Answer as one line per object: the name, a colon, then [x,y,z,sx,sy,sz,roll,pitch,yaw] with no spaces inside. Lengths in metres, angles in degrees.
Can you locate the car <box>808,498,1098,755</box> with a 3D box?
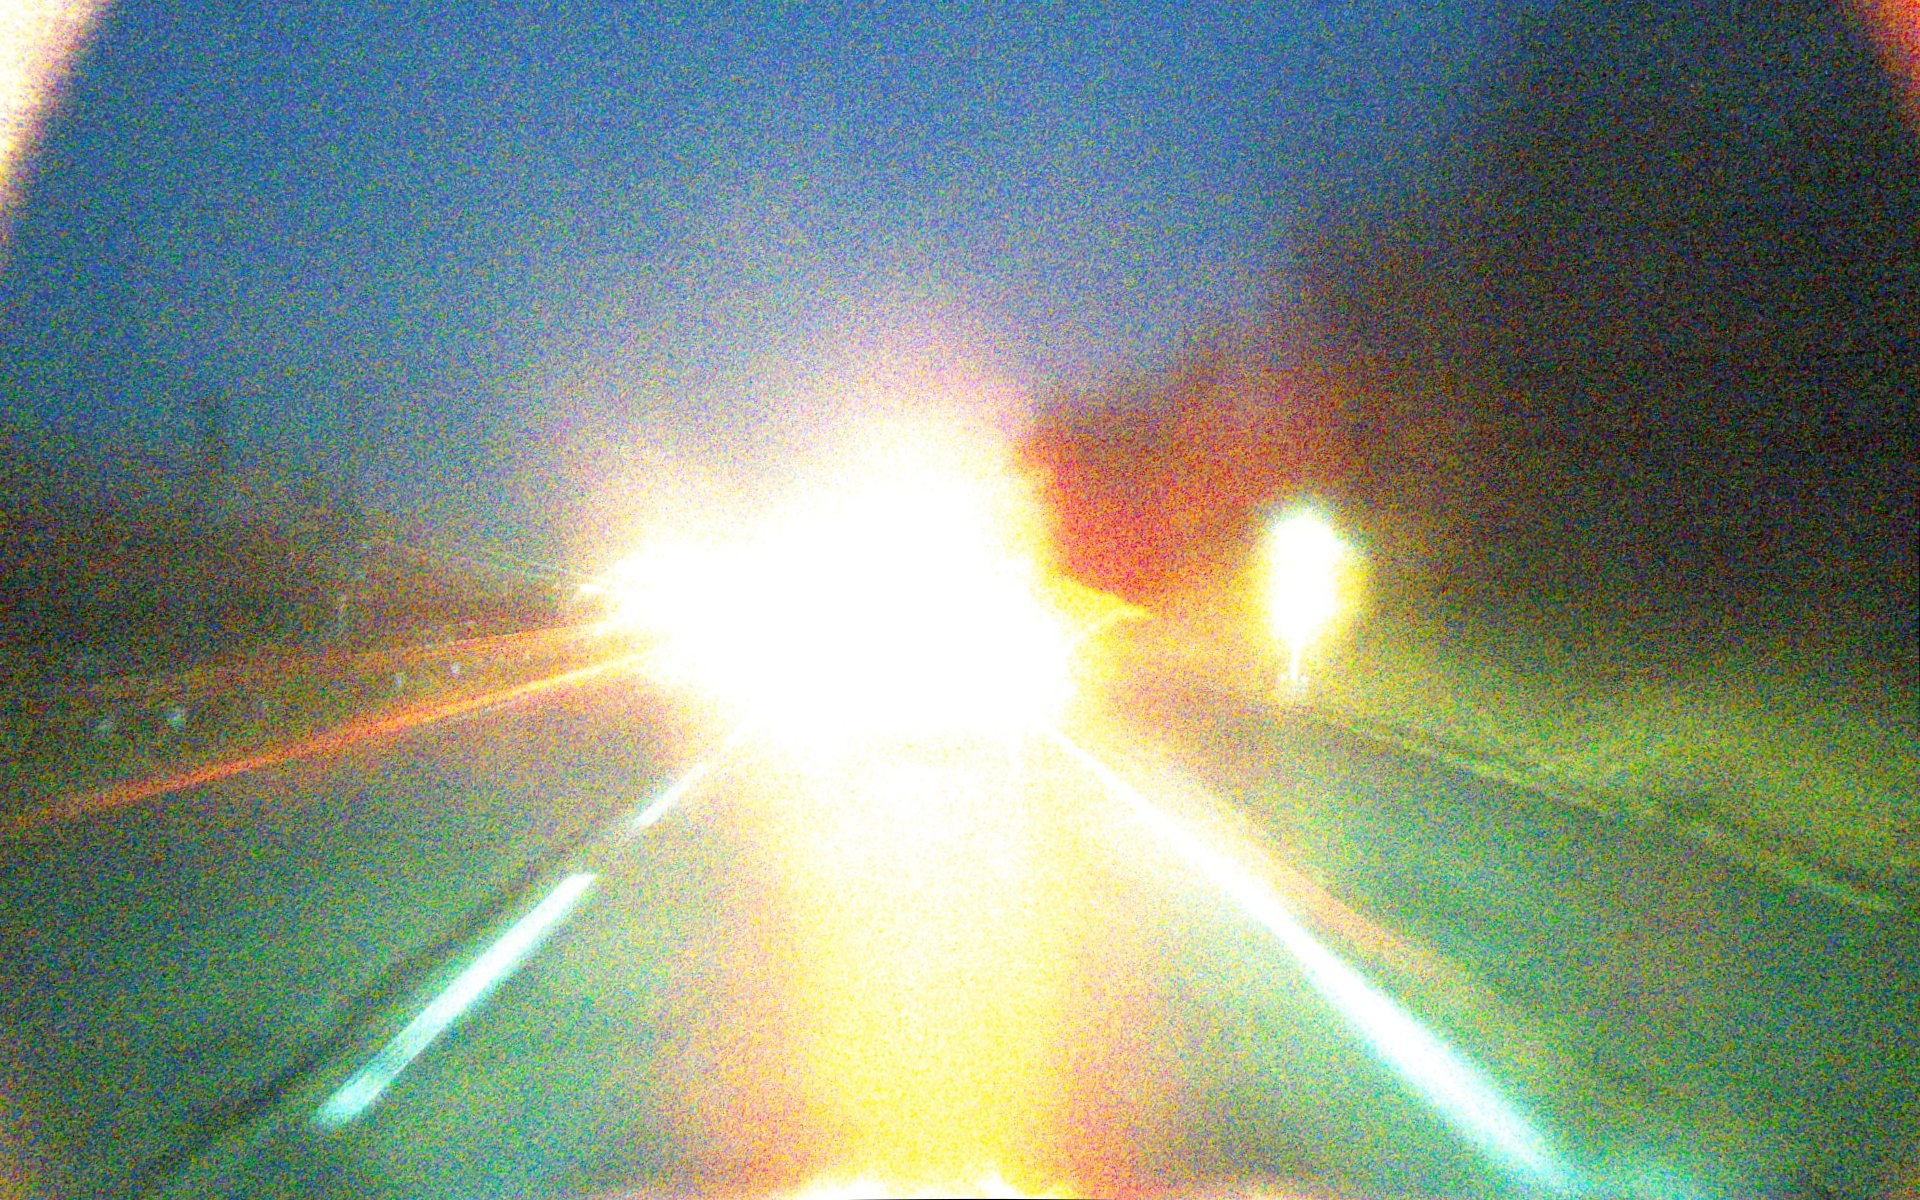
car: [-0.207,0.237,18.300,2.661,2.348,6.097,0,0,-3]

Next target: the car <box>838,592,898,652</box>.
car: [-3.141,0.733,56.950,1.953,1.948,3.998,1,0,-3]
